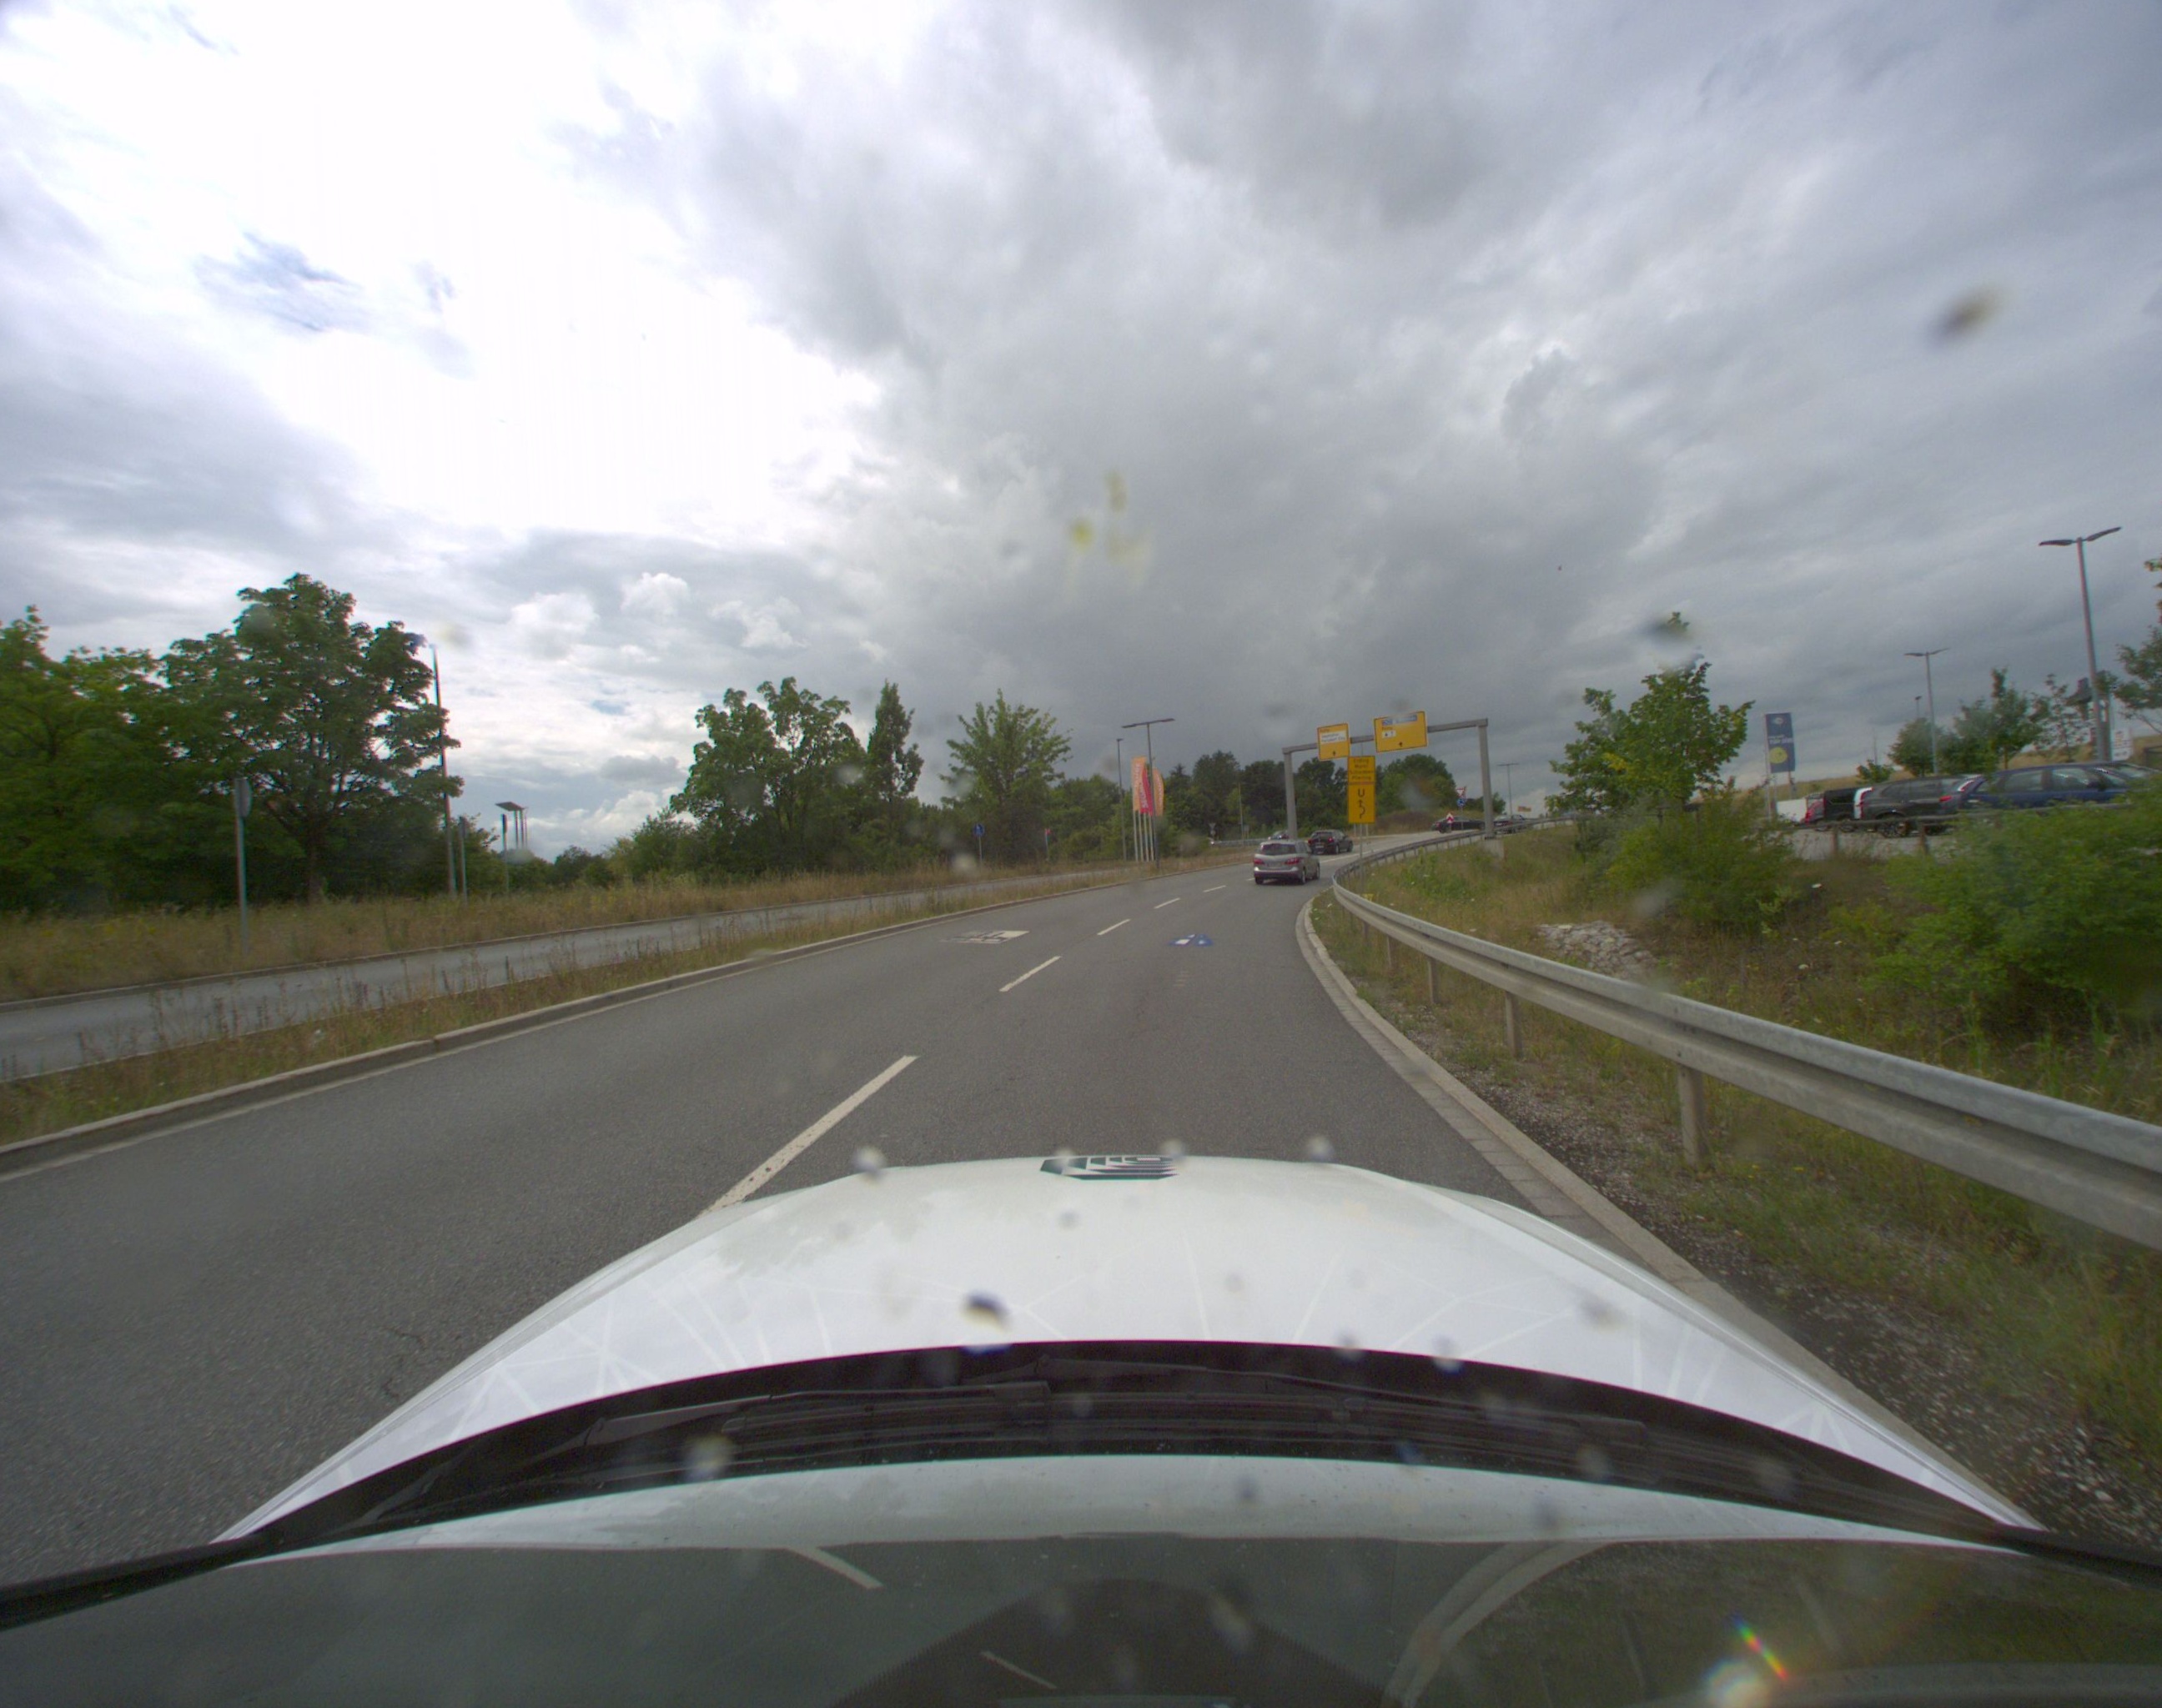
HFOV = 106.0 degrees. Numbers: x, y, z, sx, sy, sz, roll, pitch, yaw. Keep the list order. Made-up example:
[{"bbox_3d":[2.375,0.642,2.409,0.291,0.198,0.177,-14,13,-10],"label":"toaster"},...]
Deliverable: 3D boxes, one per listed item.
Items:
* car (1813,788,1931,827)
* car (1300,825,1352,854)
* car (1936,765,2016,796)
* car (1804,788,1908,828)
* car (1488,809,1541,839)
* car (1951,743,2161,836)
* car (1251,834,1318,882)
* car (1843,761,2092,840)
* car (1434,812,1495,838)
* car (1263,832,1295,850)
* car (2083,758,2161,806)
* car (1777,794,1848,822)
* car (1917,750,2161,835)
[{"bbox_3d":[37.386,-2.168,38.606,1.611,1.420,3.620,-5,-1,-13],"label":"car"},{"bbox_3d":[14.572,-0.878,48.337,1.851,1.605,3.759,0,2,35],"label":"car"},{"bbox_3d":[56.563,-4.625,51.576,1.678,1.547,3.674,-3,0,16],"label":"car"},{"bbox_3d":[39.211,-2.304,41.308,1.548,1.624,3.445,-5,-1,-13],"label":"car"},{"bbox_3d":[30.769,-2.111,57.737,3.975,1.837,1.641,-4,0,-36],"label":"car"},{"bbox_3d":[22.027,-1.382,17.771,1.663,1.638,3.750,-4,-2,-11],"label":"car"},{"bbox_3d":[7.595,0.101,30.154,1.751,1.616,3.944,0,2,23],"label":"car"},{"bbox_3d":[25.722,-1.474,23.905,1.830,1.734,4.526,-5,-1,-15],"label":"car"},{"bbox_3d":[32.195,-2.440,68.468,4.132,1.783,1.901,-4,0,-2],"label":"car"},{"bbox_3d":[23.055,-1.492,94.607,1.836,1.664,4.190,-6,1,40],"label":"car"},{"bbox_3d":[36.269,-2.516,26.715,3.915,1.389,1.606,-6,-2,37],"label":"car"},{"bbox_3d":[49.292,-3.056,54.938,1.633,1.625,3.587,-4,0,4],"label":"car"},{"bbox_3d":[23.920,-1.463,20.336,1.755,1.607,3.792,-5,-1,-12],"label":"car"}]
